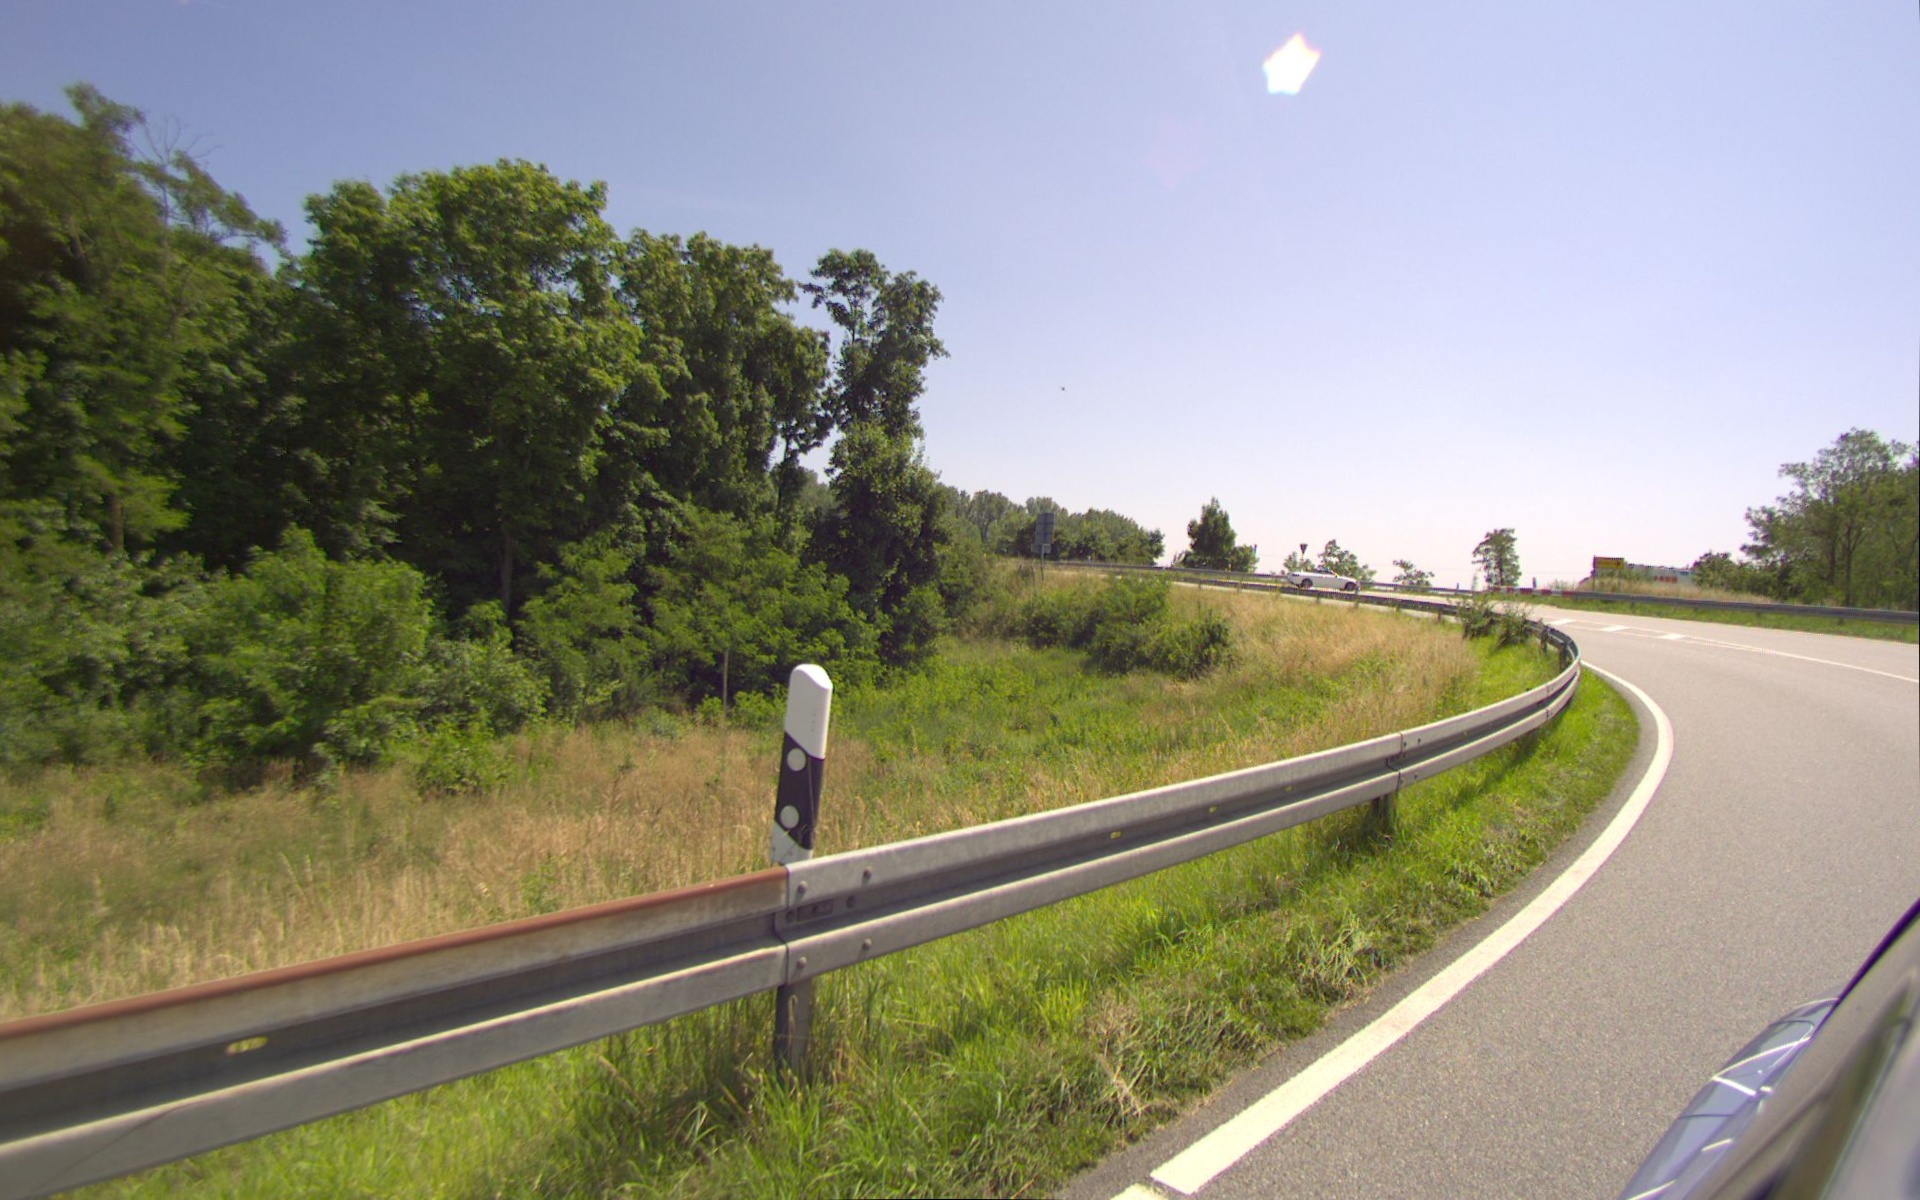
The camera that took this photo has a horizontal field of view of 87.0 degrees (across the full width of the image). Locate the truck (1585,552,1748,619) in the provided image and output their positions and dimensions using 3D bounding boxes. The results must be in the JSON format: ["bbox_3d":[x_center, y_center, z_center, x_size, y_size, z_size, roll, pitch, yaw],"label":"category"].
[{"bbox_3d":[49.360,-1.009,70.765,9.747,3.714,2.826,5,0,-7],"label":"truck"}]

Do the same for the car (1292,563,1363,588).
[{"bbox_3d":[24.249,-1.598,66.939,4.038,1.433,1.811,2,-1,5],"label":"car"}]
